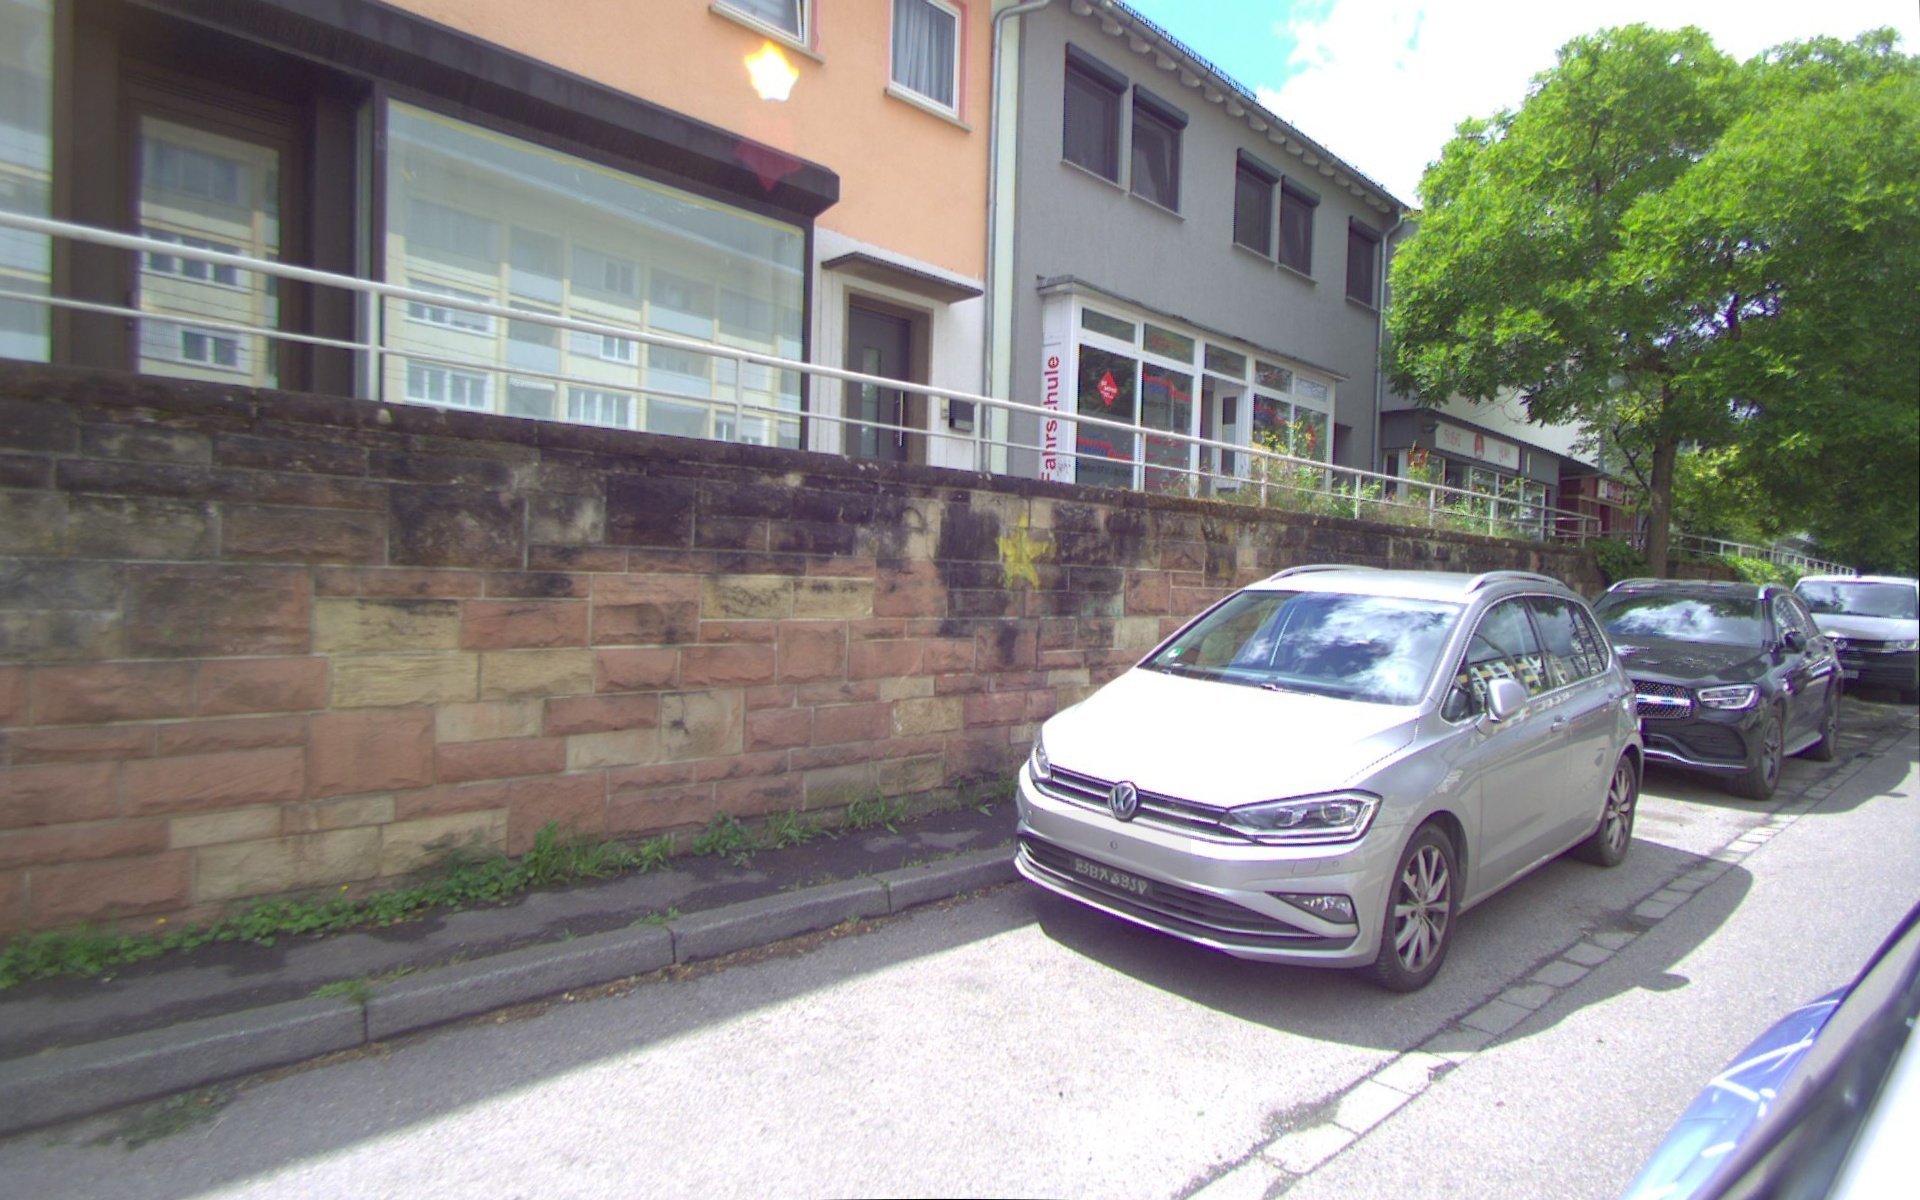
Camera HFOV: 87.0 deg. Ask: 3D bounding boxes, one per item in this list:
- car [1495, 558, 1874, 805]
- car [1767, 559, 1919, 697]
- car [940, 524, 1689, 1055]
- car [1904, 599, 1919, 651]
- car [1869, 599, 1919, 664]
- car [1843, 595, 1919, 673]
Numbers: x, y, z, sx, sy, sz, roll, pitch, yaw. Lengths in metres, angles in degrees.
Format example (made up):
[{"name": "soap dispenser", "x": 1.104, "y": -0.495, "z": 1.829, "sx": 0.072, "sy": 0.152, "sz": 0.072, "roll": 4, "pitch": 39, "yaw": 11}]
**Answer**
[{"name": "car", "x": 6.633, "y": 0.532, "z": 9.065, "sx": 4.371, "sy": 1.637, "sz": 1.793, "roll": 0, "pitch": 3, "yaw": -42}, {"name": "car", "x": 15.291, "y": 0.388, "z": 16.902, "sx": 4.926, "sy": 1.994, "sz": 1.977, "roll": 0, "pitch": 1, "yaw": -41}, {"name": "car", "x": 2.074, "y": 0.541, "z": 5.181, "sx": 4.175, "sy": 1.637, "sz": 1.793, "roll": 0, "pitch": 3, "yaw": -42}, {"name": "car", "x": 28.365, "y": 0.716, "z": 28.801, "sx": 4.075, "sy": 1.446, "sz": 1.783, "roll": 0, "pitch": 1, "yaw": -41}, {"name": "car", "x": 23.205, "y": 0.726, "z": 24.283, "sx": 4.076, "sy": 1.446, "sz": 1.782, "roll": 0, "pitch": 2, "yaw": -44}, {"name": "car", "x": 19.472, "y": 0.653, "z": 20.748, "sx": 3.670, "sy": 1.446, "sz": 1.577, "roll": 0, "pitch": 1, "yaw": -41}]
